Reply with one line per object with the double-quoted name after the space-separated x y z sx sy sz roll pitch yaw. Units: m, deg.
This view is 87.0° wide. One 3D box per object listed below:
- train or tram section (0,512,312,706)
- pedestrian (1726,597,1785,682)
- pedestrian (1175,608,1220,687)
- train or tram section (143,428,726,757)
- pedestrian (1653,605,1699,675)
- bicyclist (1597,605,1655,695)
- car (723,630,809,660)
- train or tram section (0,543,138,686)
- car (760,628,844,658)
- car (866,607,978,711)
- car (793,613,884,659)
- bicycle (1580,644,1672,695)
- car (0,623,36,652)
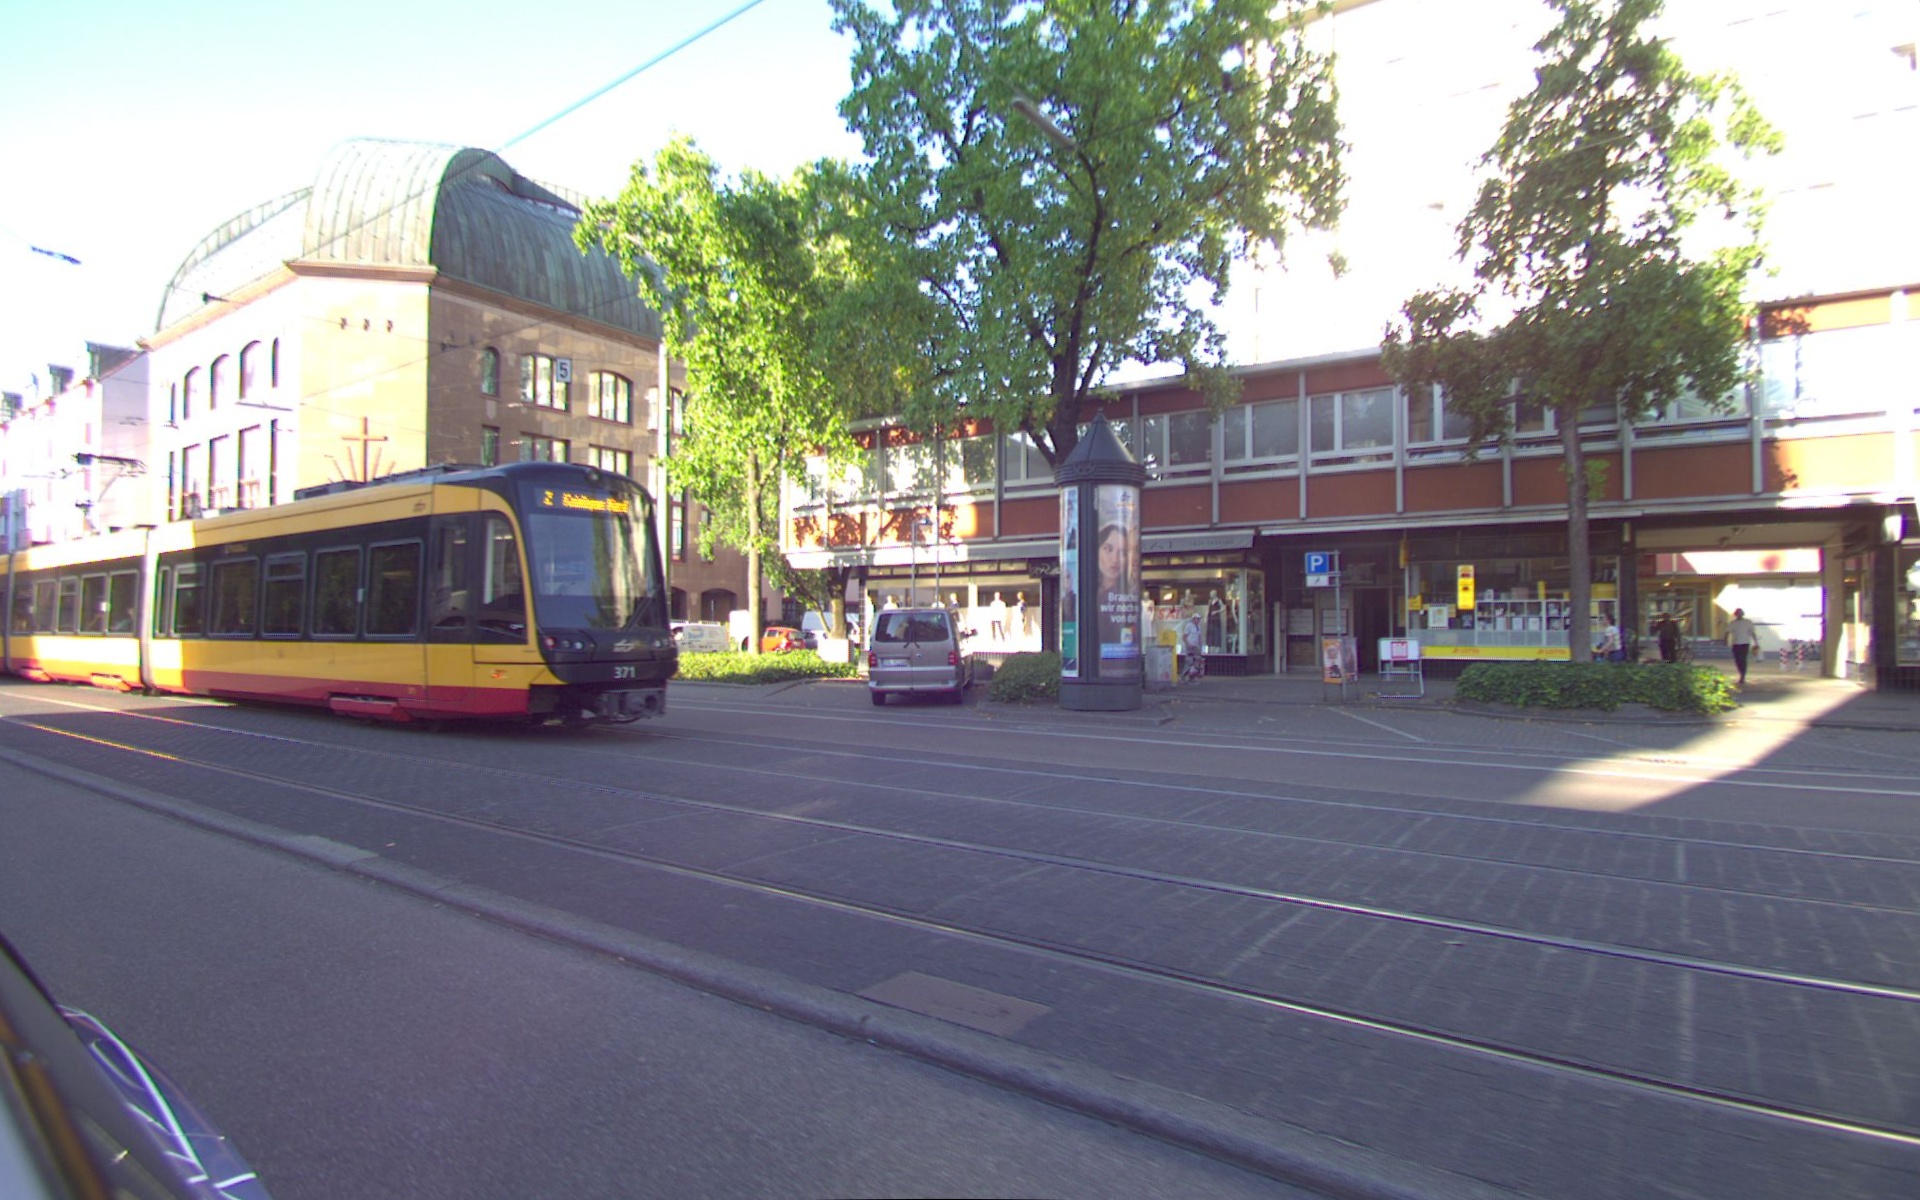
-18.616 0.277 23.018 11.105 3.578 2.651 -1 -3 36 "train or tram section"
19.055 0.940 24.259 0.994 1.963 0.890 -1 -3 34 "pedestrian"
5.838 1.161 24.927 0.888 1.892 0.919 0 -2 2 "pedestrian"
-8.993 0.042 15.858 12.816 3.578 2.651 -1 -3 36 "train or tram section"
19.809 1.095 28.028 0.915 1.892 0.891 -1 -2 30 "pedestrian"
13.801 1.038 20.991 0.819 1.836 0.490 -1 -2 10 "bicyclist"
-10.401 2.391 54.293 4.516 1.585 1.836 -1 -2 32 "car"
-28.144 0.488 30.012 12.443 3.578 2.733 -1 -3 36 "train or tram section"
-8.832 2.379 56.446 4.516 1.585 1.836 -1 -2 32 "car"
-0.684 1.144 21.812 1.830 1.943 5.115 0 0 4 "car"
-7.129 2.112 59.142 5.399 2.562 1.835 -1 -2 34 "car"
13.788 1.441 20.979 1.480 1.033 0.491 -1 -2 10 "bicycle"
-59.085 2.308 62.559 4.550 1.713 1.942 -1 -1 35 "car"
